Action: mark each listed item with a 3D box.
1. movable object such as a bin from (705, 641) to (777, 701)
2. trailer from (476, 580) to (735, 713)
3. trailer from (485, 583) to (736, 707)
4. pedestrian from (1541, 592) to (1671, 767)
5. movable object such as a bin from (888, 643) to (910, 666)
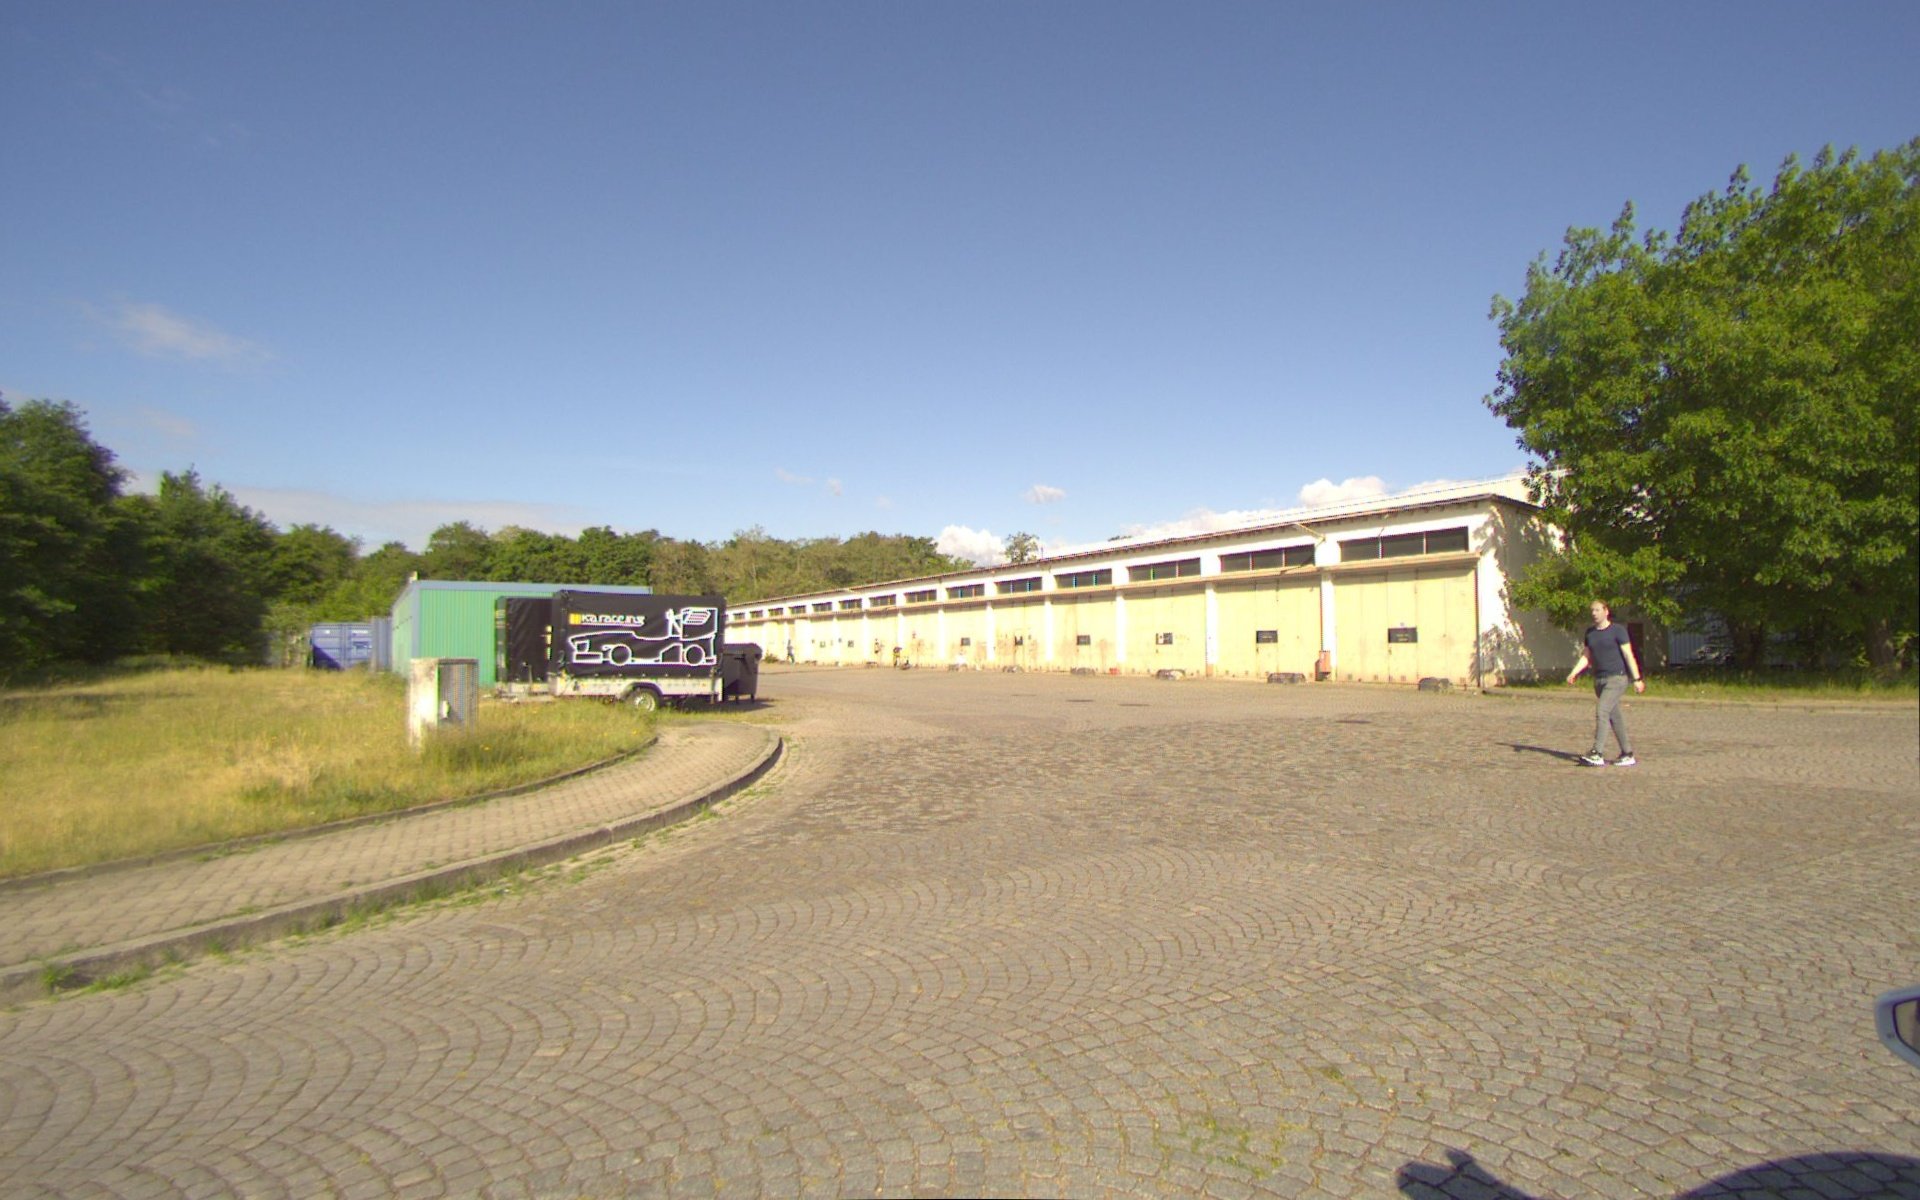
[{"bbox_3d":[-5.256,1.696,24.197,1.337,1.404,1.048,-1,-2,19],"label":"movable object such as a bin"},{"bbox_3d":[-6.834,0.937,19.453,4.414,2.302,1.999,3,-3,-29],"label":"trailer"},{"bbox_3d":[-7.544,1.018,21.901,4.806,2.422,1.925,3,-4,-35],"label":"trailer"},{"bbox_3d":[7.593,0.912,11.819,1.128,1.939,0.794,1,-3,-28],"label":"pedestrian"},{"bbox_3d":[-3.664,3.280,60.132,0.817,1.349,1.269,1,-3,-33],"label":"movable object such as a bin"}]
